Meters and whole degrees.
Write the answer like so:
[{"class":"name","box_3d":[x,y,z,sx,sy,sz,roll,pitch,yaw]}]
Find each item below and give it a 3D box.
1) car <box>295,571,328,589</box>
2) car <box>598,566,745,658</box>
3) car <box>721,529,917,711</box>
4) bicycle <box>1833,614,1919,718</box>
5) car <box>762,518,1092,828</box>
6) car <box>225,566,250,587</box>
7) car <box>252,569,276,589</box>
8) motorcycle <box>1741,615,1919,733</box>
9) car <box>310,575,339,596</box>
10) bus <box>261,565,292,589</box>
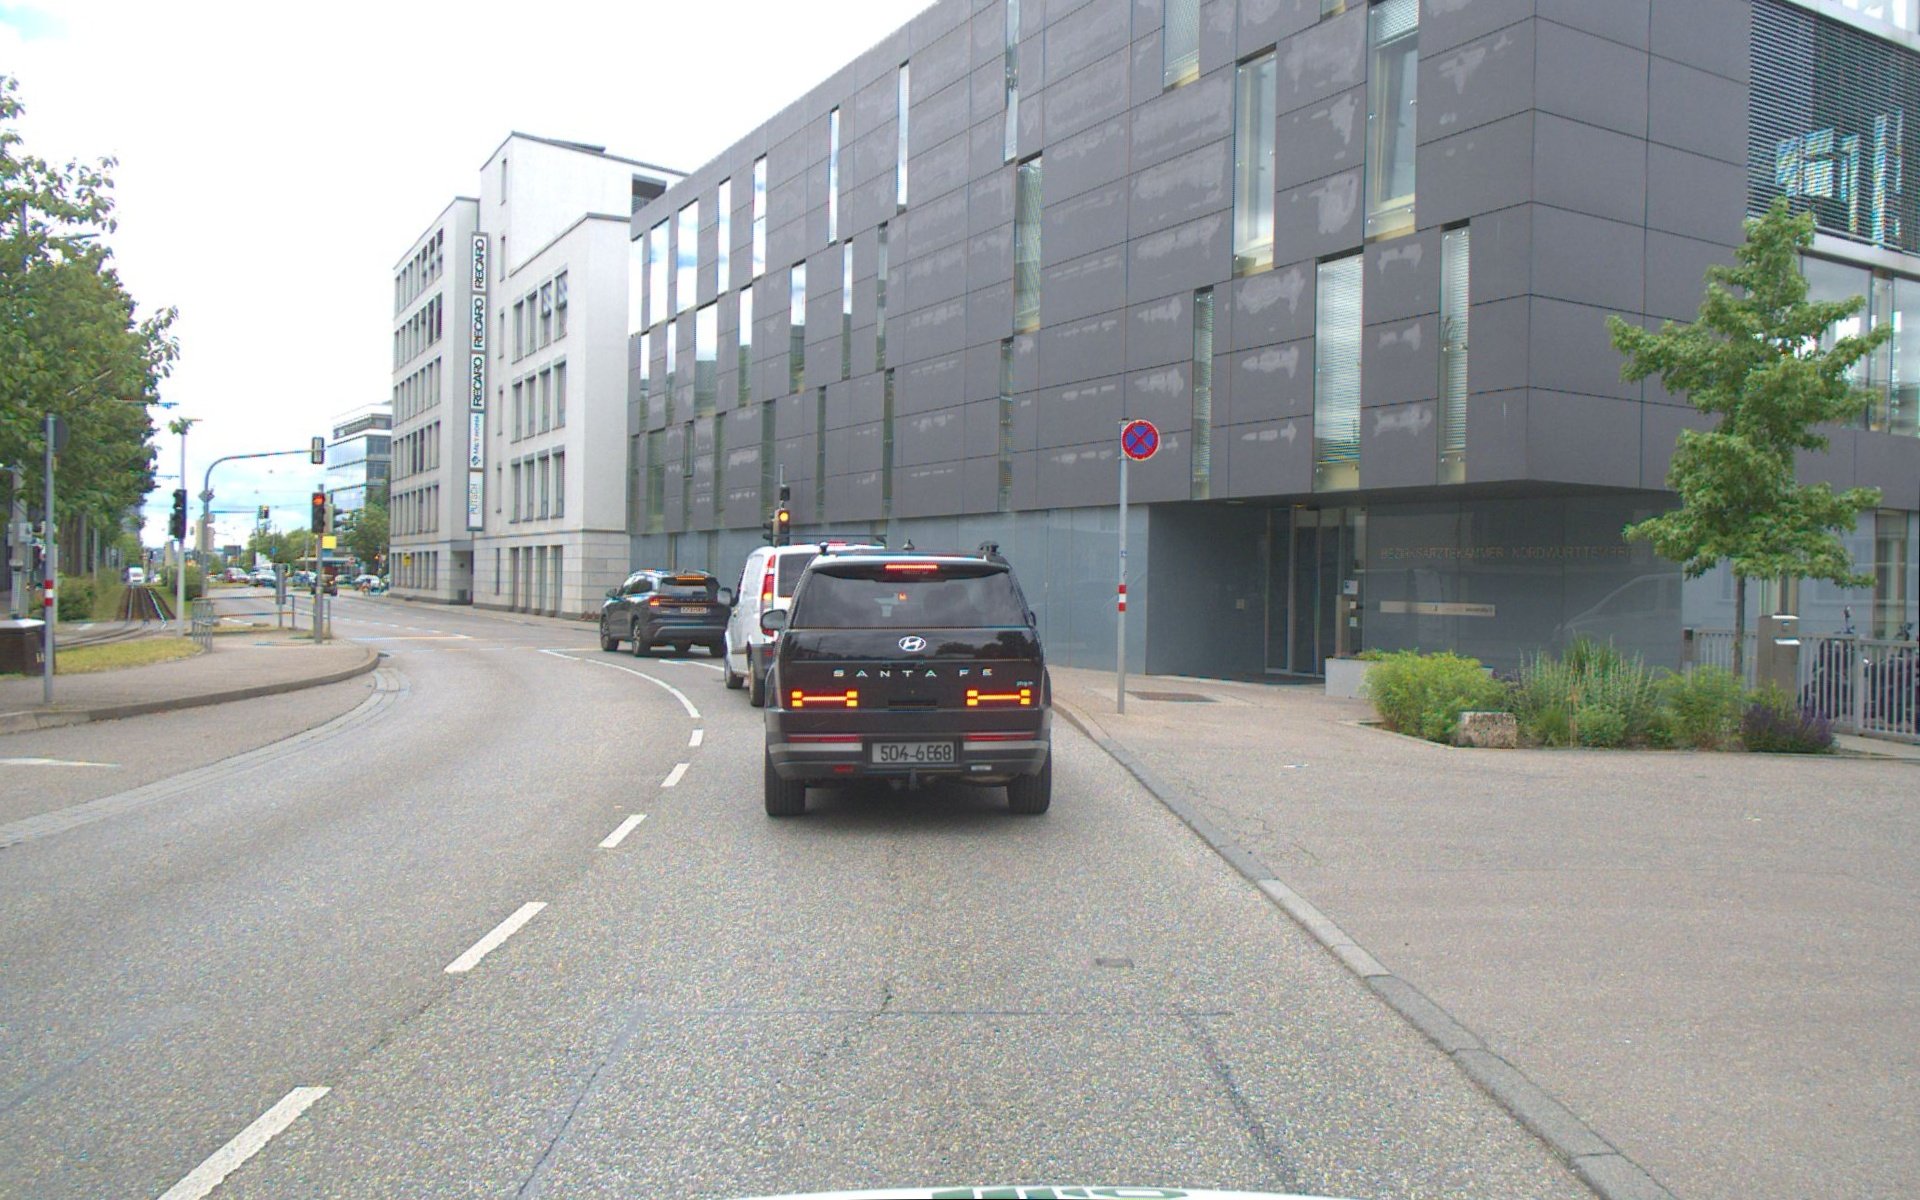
[{"class":"car","box_3d":[-64.299,-1.976,163.935,1.840,1.657,3.942,1,1,-40]},{"class":"car","box_3d":[-5.868,0.209,33.258,1.825,1.706,4.339,0,0,-26]},{"class":"car","box_3d":[-1.914,0.191,21.140,1.824,2.069,4.421,1,1,-14]},{"class":"bicycle","box_3d":[12.258,0.842,21.010,0.607,1.282,2.083,1,1,-28]},{"class":"car","box_3d":[-0.349,0.412,11.807,1.878,1.755,4.166,2,0,-5]},{"class":"car","box_3d":[-71.290,-2.333,163.211,1.832,1.956,3.961,1,0,-29]},{"class":"car","box_3d":[-62.214,-1.904,147.805,1.828,1.725,3.968,1,0,-25]},{"class":"motorcycle","box_3d":[10.795,0.855,19.787,0.836,1.282,2.670,1,1,-28]},{"class":"car","box_3d":[-47.791,-1.096,124.403,1.871,1.512,3.978,1,1,-19]},{"class":"bus","box_3d":[-93.247,-3.184,225.483,3.046,2.979,10.254,2,1,-27]}]
